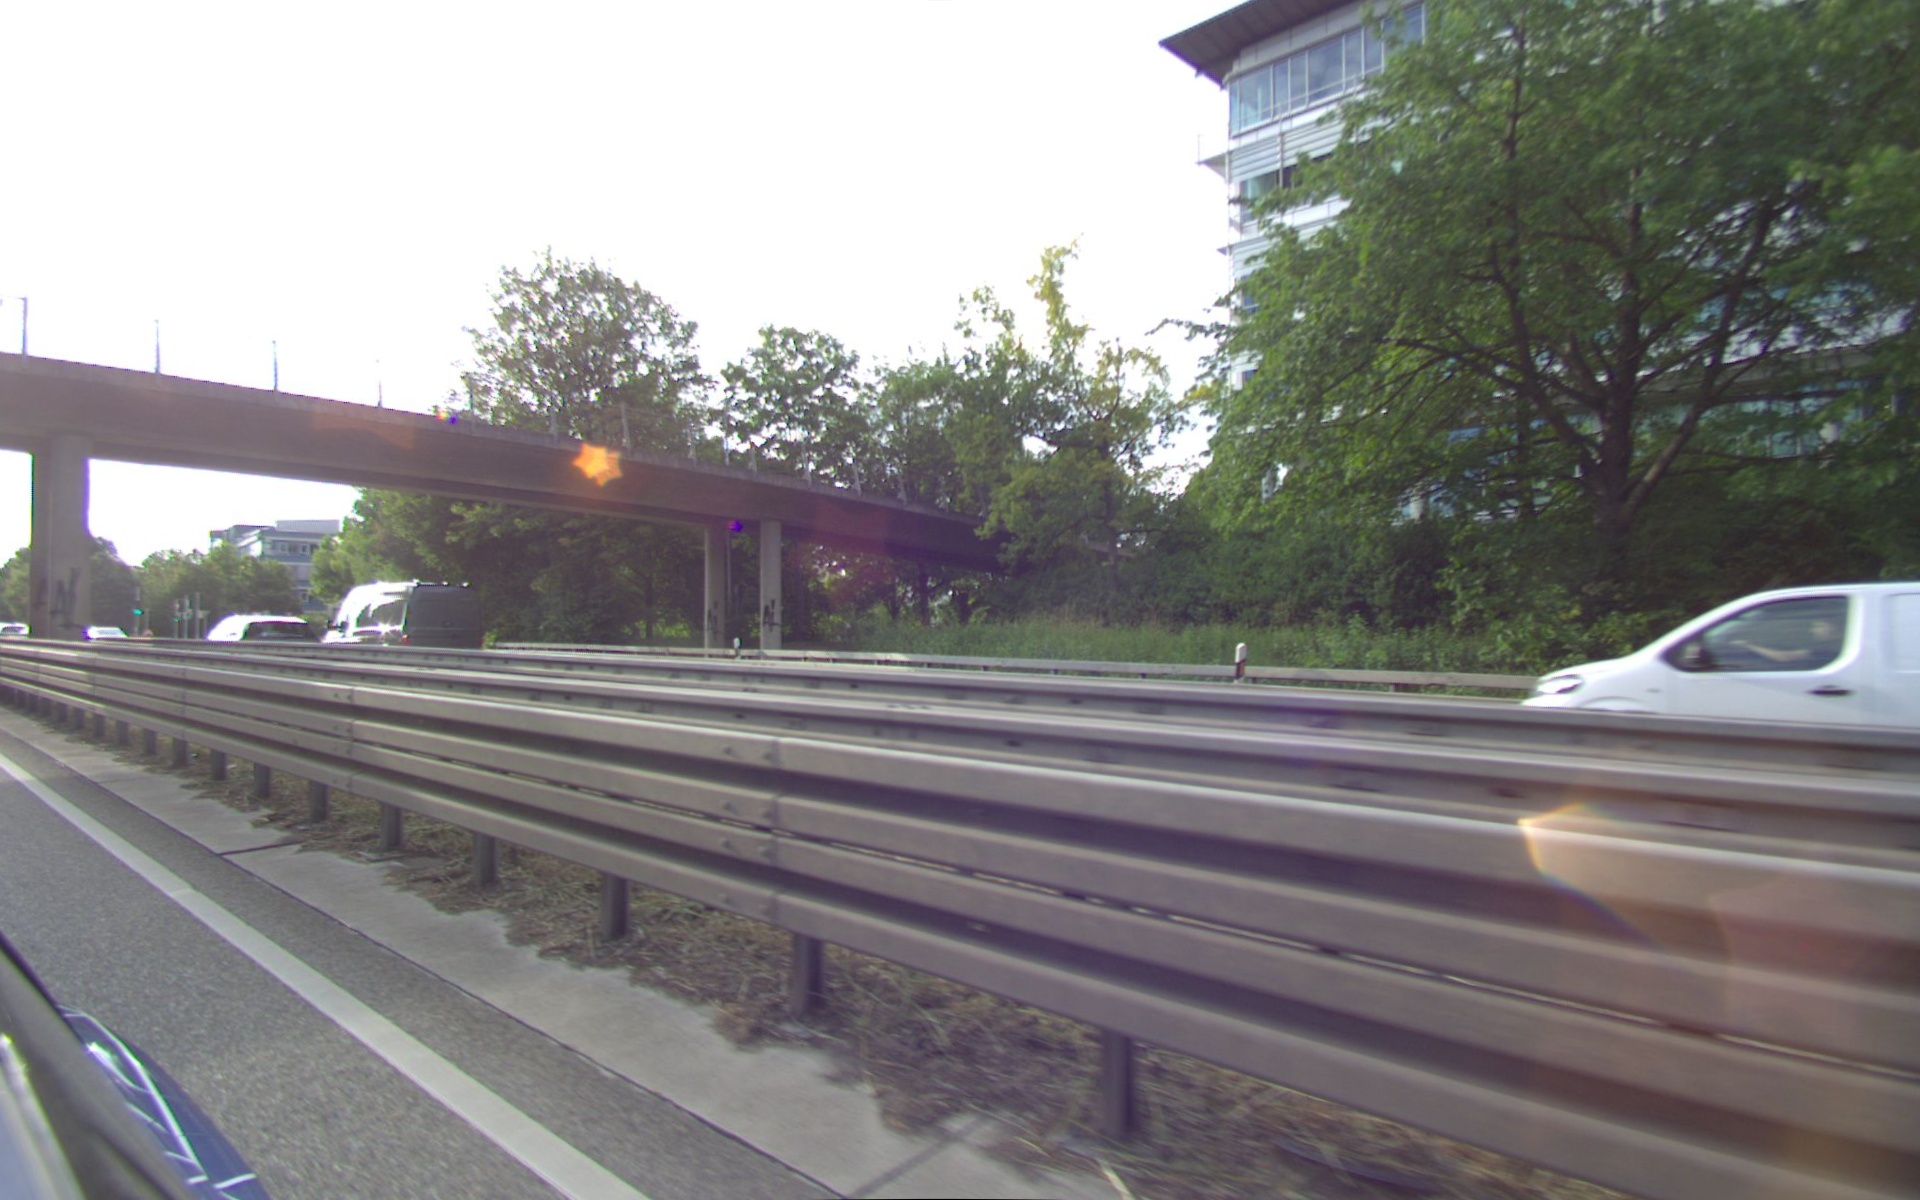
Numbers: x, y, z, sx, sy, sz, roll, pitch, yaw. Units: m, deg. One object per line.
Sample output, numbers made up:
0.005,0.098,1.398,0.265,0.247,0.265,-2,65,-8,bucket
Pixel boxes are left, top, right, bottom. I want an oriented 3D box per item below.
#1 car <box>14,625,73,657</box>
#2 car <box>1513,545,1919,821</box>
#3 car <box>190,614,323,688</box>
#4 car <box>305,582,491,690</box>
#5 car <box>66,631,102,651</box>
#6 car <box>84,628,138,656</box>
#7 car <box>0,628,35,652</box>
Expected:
-47.475,2.098,52.380,4.789,1.596,1.803,-1,-2,42,car
7.001,0.573,7.670,4.622,1.869,1.847,-1,-2,43,car
-15.854,1.098,22.751,3.638,1.540,1.589,-1,-1,41,car
-15.163,0.915,27.054,6.938,2.556,2.226,-1,-1,42,car
-61.513,2.837,71.032,3.307,1.364,1.415,-1,-2,40,car
-49.475,2.438,58.975,4.397,1.548,1.814,-1,-5,43,car
-61.229,2.569,65.455,3.733,1.478,1.700,-1,-2,42,car
